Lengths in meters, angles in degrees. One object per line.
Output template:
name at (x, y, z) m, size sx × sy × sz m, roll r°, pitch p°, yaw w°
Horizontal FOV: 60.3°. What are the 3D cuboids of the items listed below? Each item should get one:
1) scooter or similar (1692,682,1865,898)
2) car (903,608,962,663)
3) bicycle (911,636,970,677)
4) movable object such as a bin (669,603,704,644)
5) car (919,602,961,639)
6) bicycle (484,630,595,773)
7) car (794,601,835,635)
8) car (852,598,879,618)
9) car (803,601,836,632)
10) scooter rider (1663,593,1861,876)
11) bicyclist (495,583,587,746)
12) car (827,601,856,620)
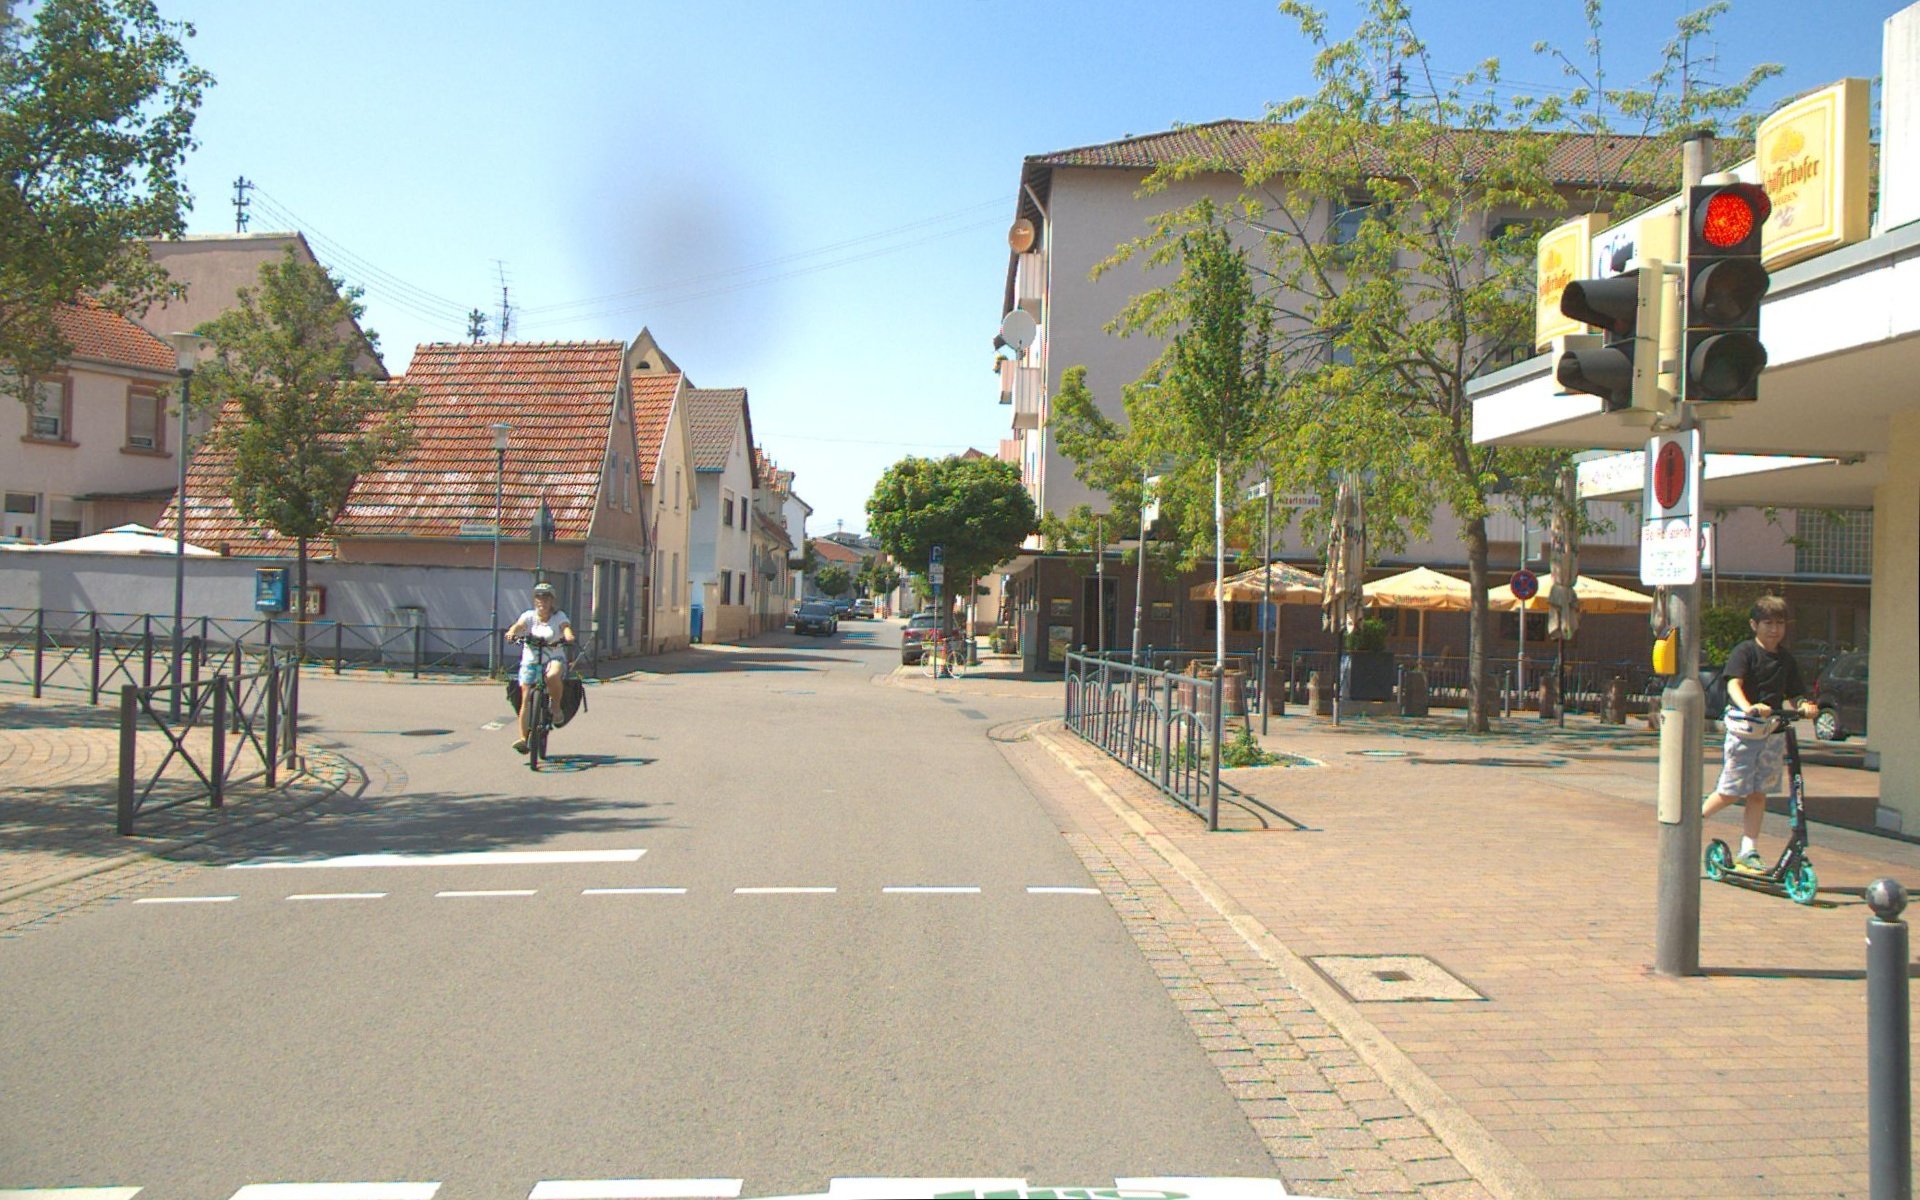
scooter or similar at (4.126, 0.934, 8.388) m, size 0.402 × 0.982 × 0.960 m, roll 1°, pitch 0°, yaw 1°
car at (-0.746, 0.988, 47.169) m, size 1.543 × 1.479 × 3.486 m, roll 1°, pitch -1°, yaw 1°
bicycle at (-0.460, 1.318, 38.550) m, size 1.386 × 0.913 × 0.463 m, roll 0°, pitch 0°, yaw 36°
movable object such as a bin at (-9.368, 0.805, 56.620) m, size 1.078 × 1.389 × 0.390 m, roll 1°, pitch -1°, yaw 3°
car at (-0.981, 0.992, 81.032) m, size 2.001 × 1.718 × 4.840 m, roll 1°, pitch 0°, yaw -1°
bicycle at (-4.085, 0.949, 16.187) m, size 0.694 × 1.274 × 1.970 m, roll -1°, pitch 0°, yaw -4°
car at (-6.846, 0.837, 78.078) m, size 1.629 × 1.502 × 4.133 m, roll 1°, pitch 0°, yaw -1°
car at (-8.088, 0.690, 141.121) m, size 1.988 × 1.626 × 4.502 m, roll 1°, pitch 0°, yaw -6°
car at (-7.168, 0.827, 84.627) m, size 1.630 × 1.502 × 3.447 m, roll 1°, pitch 0°, yaw -5°
scooter rider at (4.082, 0.646, 8.486) m, size 0.452 × 1.348 × 1.133 m, roll 1°, pitch 0°, yaw 0°
bicyclist at (-4.075, 0.616, 16.149) m, size 0.700 × 1.533 × 0.870 m, roll 1°, pitch 0°, yaw -4°
car at (-9.763, 0.874, 135.920) m, size 1.874 × 1.507 × 4.832 m, roll 1°, pitch -1°, yaw -10°
